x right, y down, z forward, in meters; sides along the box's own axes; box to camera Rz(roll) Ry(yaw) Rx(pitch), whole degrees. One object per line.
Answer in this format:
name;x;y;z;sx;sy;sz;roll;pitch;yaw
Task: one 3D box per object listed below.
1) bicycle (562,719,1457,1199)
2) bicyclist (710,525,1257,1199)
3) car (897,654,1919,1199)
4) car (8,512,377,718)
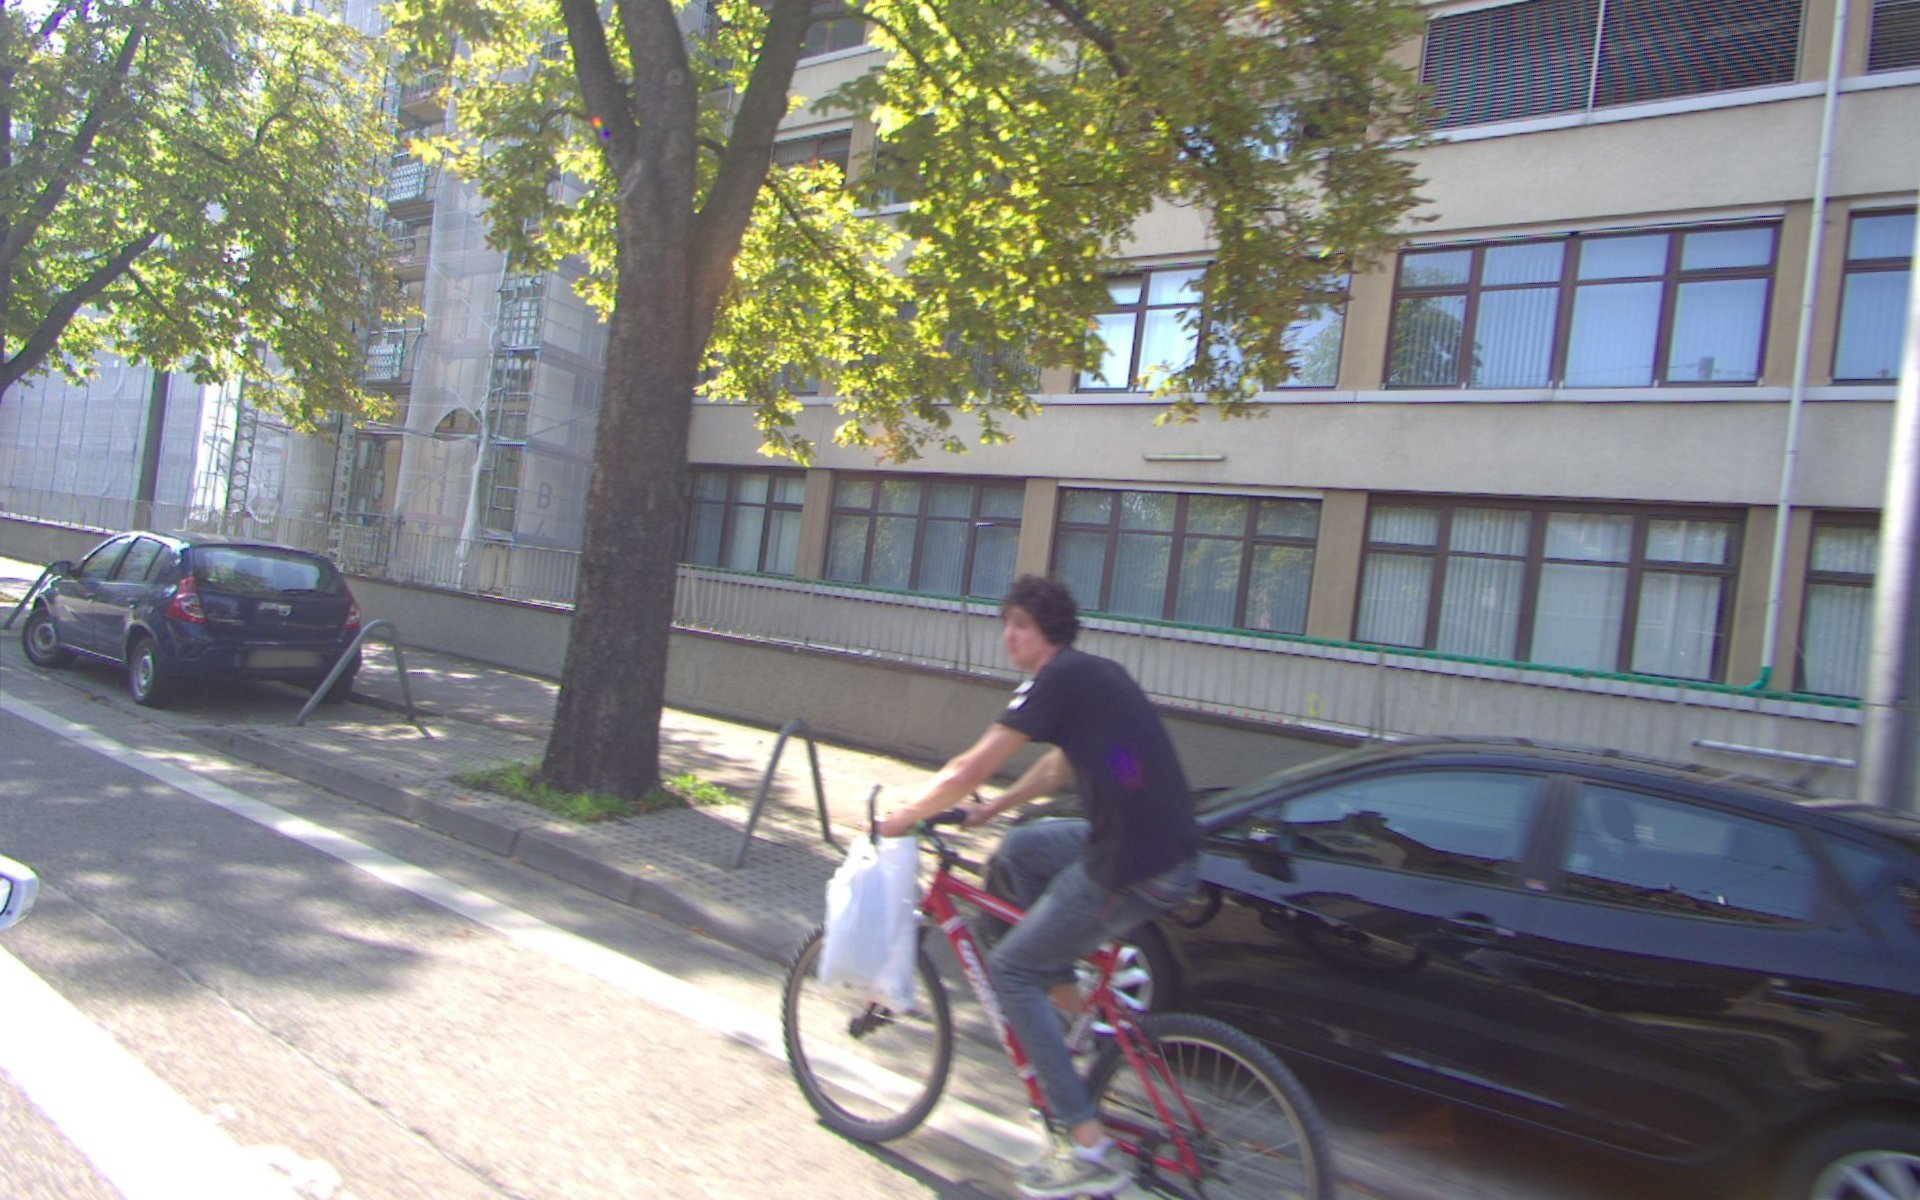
bicycle;0.007;1.086;2.778;2.268;1.158;0.788;7;-1;34
bicyclist;0.075;0.624;2.783;1.098;1.487;0.788;7;-1;33
car;1.925;1.220;4.144;4.016;1.446;1.648;7;0;31
car;-7.704;0.098;10.025;3.716;1.530;1.648;7;0;32
